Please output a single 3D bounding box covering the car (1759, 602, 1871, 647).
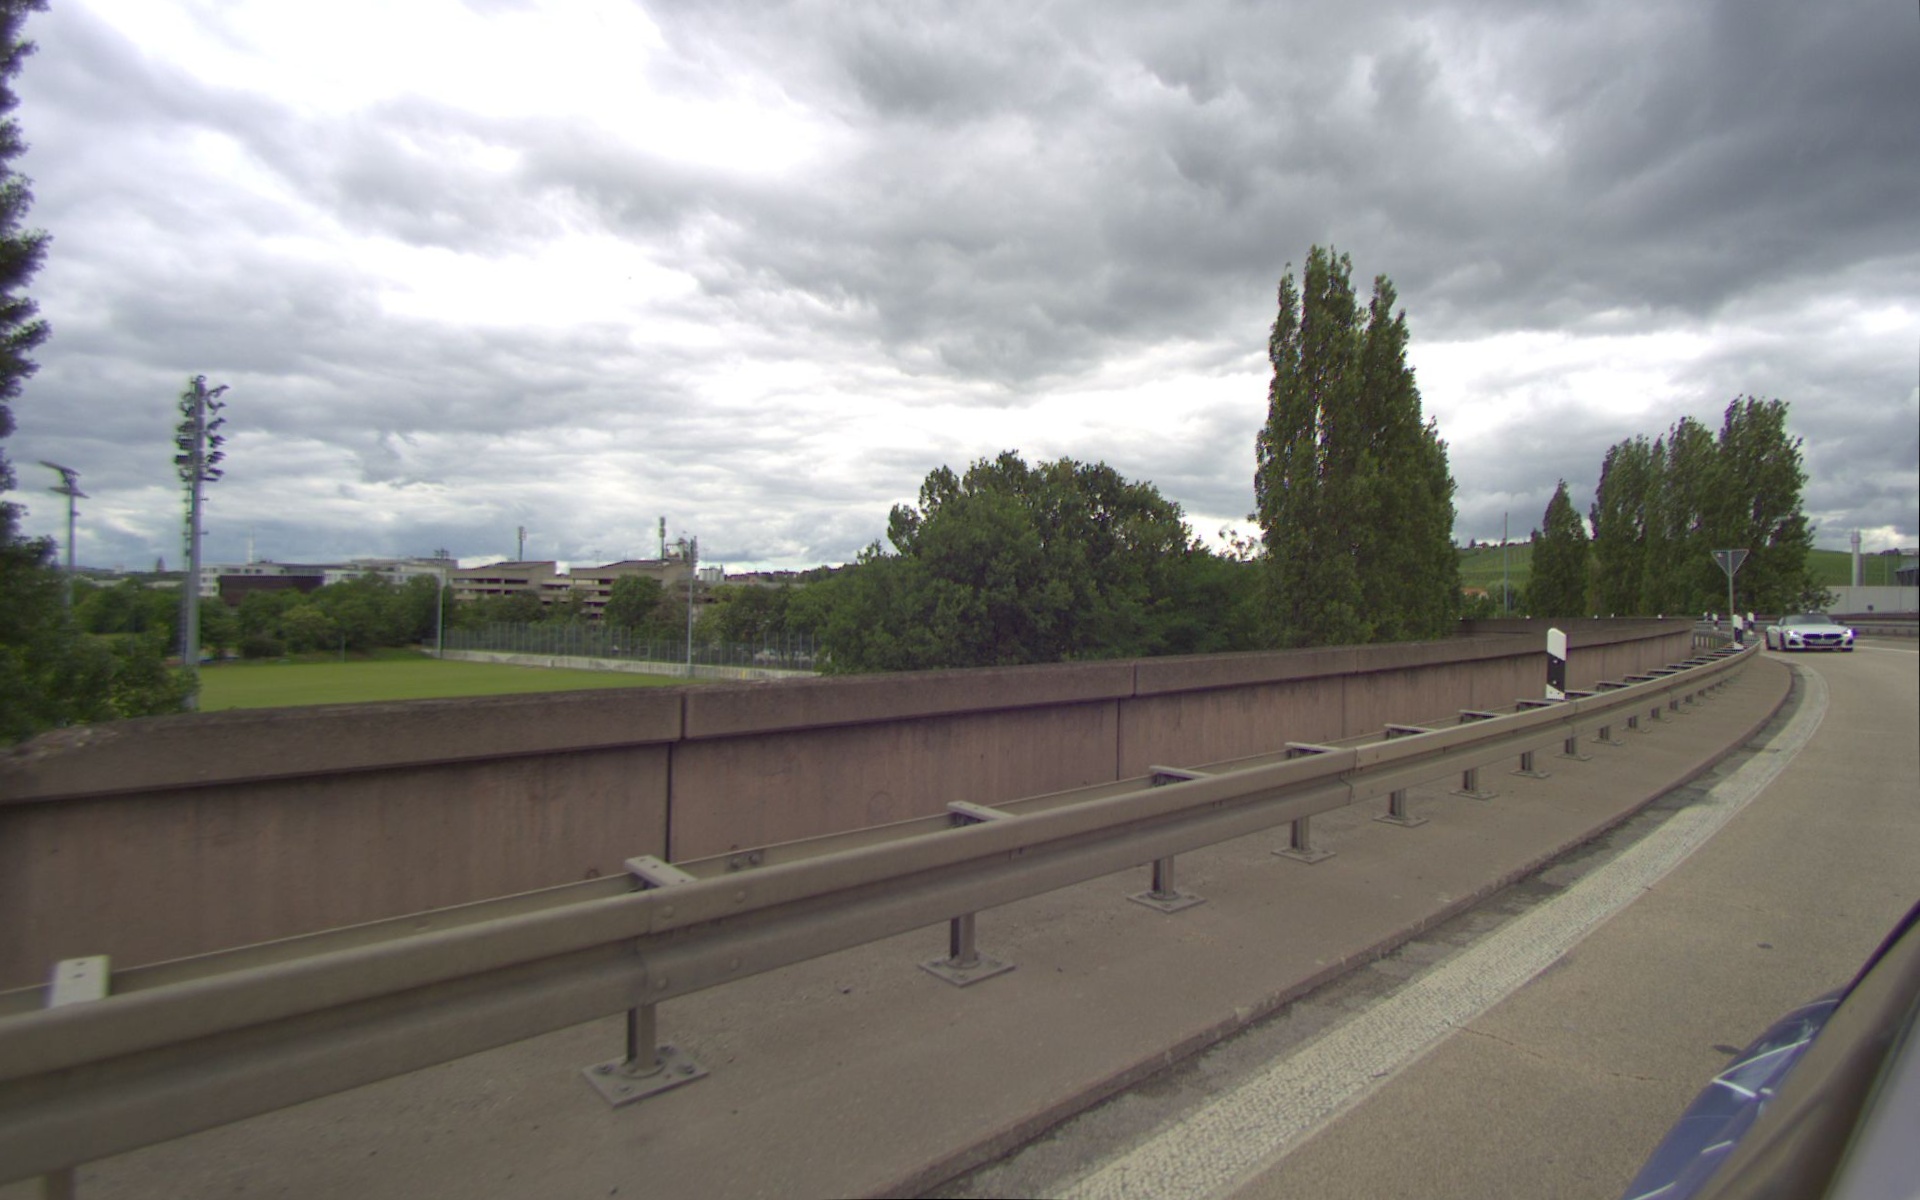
[{"bbox_3d":[29.602,0.816,35.217,1.845,1.362,4.780,-3,-1,27],"label":"car"}]
